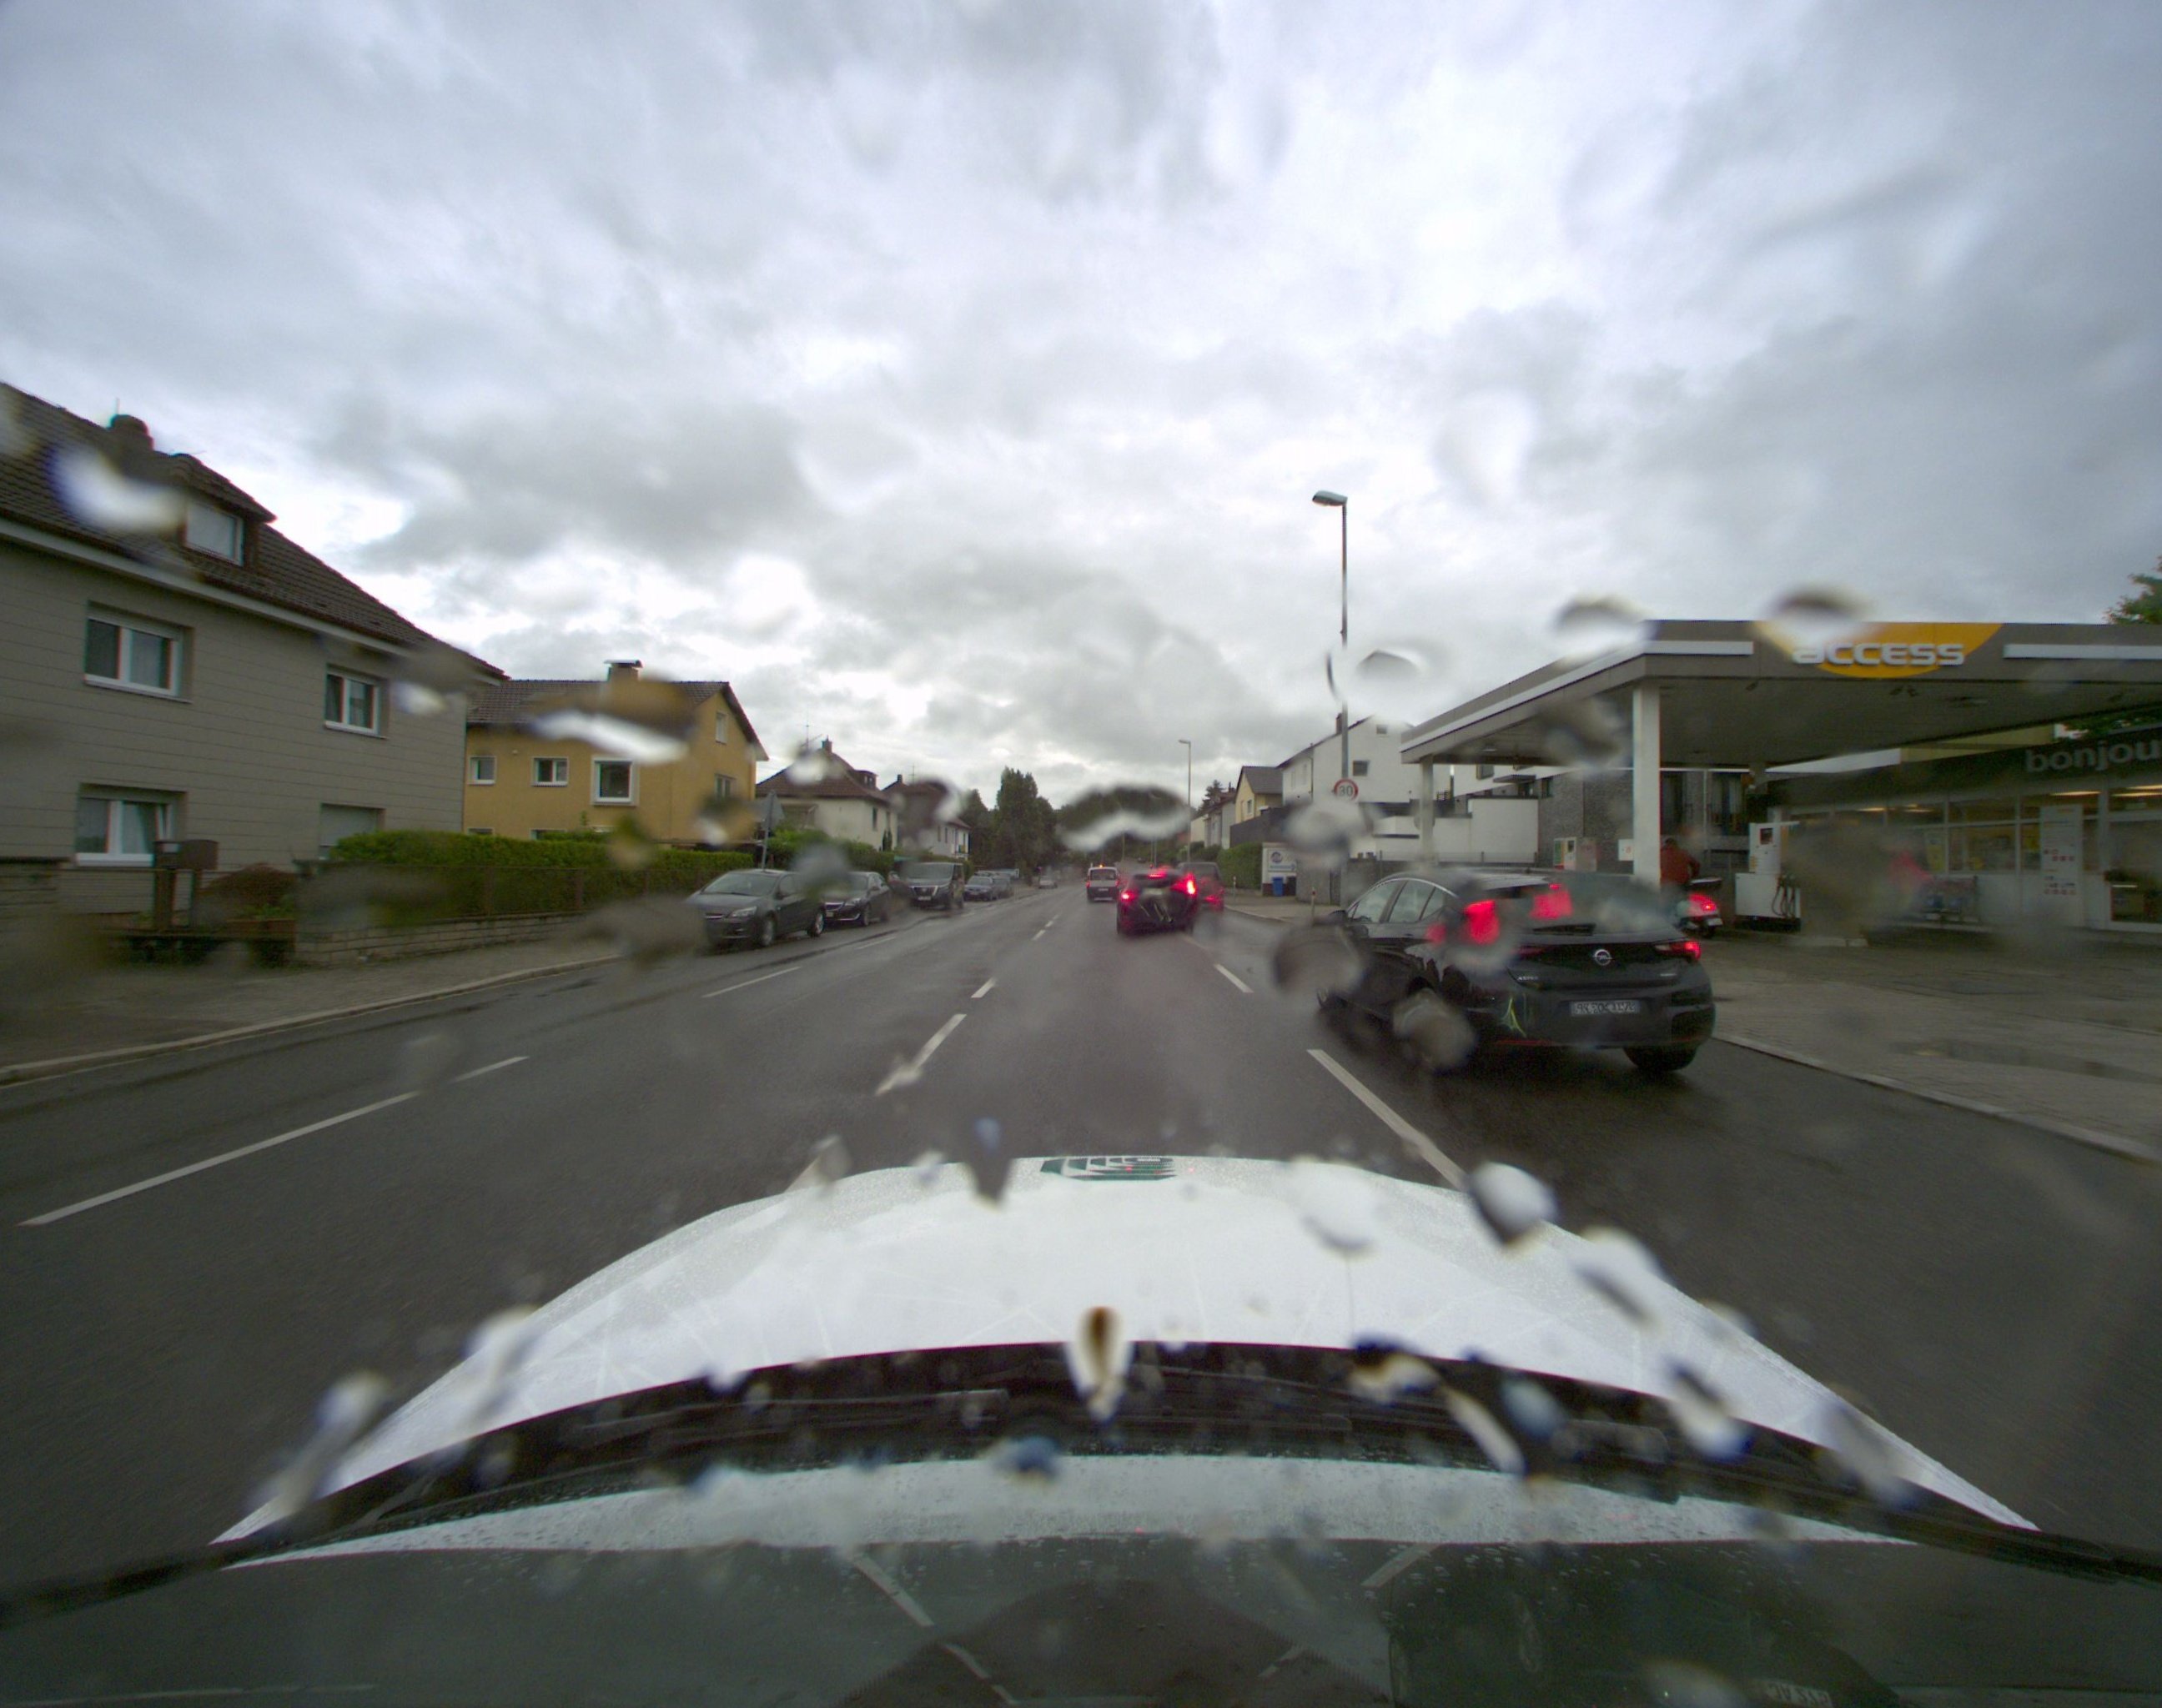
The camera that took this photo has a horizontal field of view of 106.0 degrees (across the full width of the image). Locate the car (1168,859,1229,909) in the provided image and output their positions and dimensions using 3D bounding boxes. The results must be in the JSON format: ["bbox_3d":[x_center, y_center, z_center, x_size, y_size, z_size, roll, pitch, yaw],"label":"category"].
[{"bbox_3d":[4.323,1.114,30.498,1.831,1.767,4.001,0,-2,2],"label":"car"}]

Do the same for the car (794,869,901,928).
[{"bbox_3d":[-6.495,1.217,23.147,1.745,1.517,4.525,0,-2,-1],"label":"car"}]

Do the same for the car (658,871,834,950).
[{"bbox_3d":[-6.710,1.091,16.852,1.743,1.440,4.132,0,-2,3],"label":"car"}]

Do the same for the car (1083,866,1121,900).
[{"bbox_3d":[1.184,1.583,44.613,1.986,1.738,4.001,0,-2,2],"label":"car"}]

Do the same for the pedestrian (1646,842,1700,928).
[{"bbox_3d":[11.548,0.600,15.907,0.607,1.656,0.586,0,-2,2],"label":"pedestrian"}]

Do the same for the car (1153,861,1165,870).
[{"bbox_3d":[21.378,3.140,224.321,2.515,2.013,5.605,1,3,-2],"label":"car"}]

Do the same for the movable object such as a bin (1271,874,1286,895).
[{"bbox_3d":[10.676,1.641,43.950,0.593,1.105,0.667,-3,-2,1],"label":"movable object such as a bin"}]

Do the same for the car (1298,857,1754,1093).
[{"bbox_3d":[3.278,0.778,7.022,1.751,1.449,3.999,0,-1,0],"label":"car"}]

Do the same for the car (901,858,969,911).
[{"bbox_3d":[-5.937,1.241,33.623,1.907,2.003,5.085,0,-2,0],"label":"car"}]

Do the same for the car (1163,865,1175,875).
[{"bbox_3d":[20.453,3.713,189.333,2.510,2.013,5.615,0,1,4],"label":"car"}]

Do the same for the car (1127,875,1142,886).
[{"bbox_3d":[7.812,3.885,119.650,1.987,1.578,4.000,-1,0,1],"label":"car"}]

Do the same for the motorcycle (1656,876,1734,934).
[{"bbox_3d":[11.756,0.962,15.629,0.460,1.055,1.391,0,-2,2],"label":"motorcycle"}]

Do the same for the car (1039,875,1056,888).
[{"bbox_3d":[-4.166,3.404,101.579,1.877,1.585,4.001,0,-2,2],"label":"car"}]

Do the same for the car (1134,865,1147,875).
[{"bbox_3d":[13.555,3.644,186.594,2.515,2.013,5.605,0,1,-1],"label":"car"}]

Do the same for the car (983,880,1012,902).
[{"bbox_3d":[-5.608,2.480,54.949,1.546,1.431,4.013,0,-2,-1],"label":"car"}]

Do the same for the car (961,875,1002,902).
[{"bbox_3d":[-5.918,2.063,48.777,1.750,1.533,4.288,0,-2,2],"label":"car"}]

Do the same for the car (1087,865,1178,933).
[{"bbox_3d":[1.232,1.058,19.841,1.985,1.484,4.002,0,-2,3],"label":"car"}]
